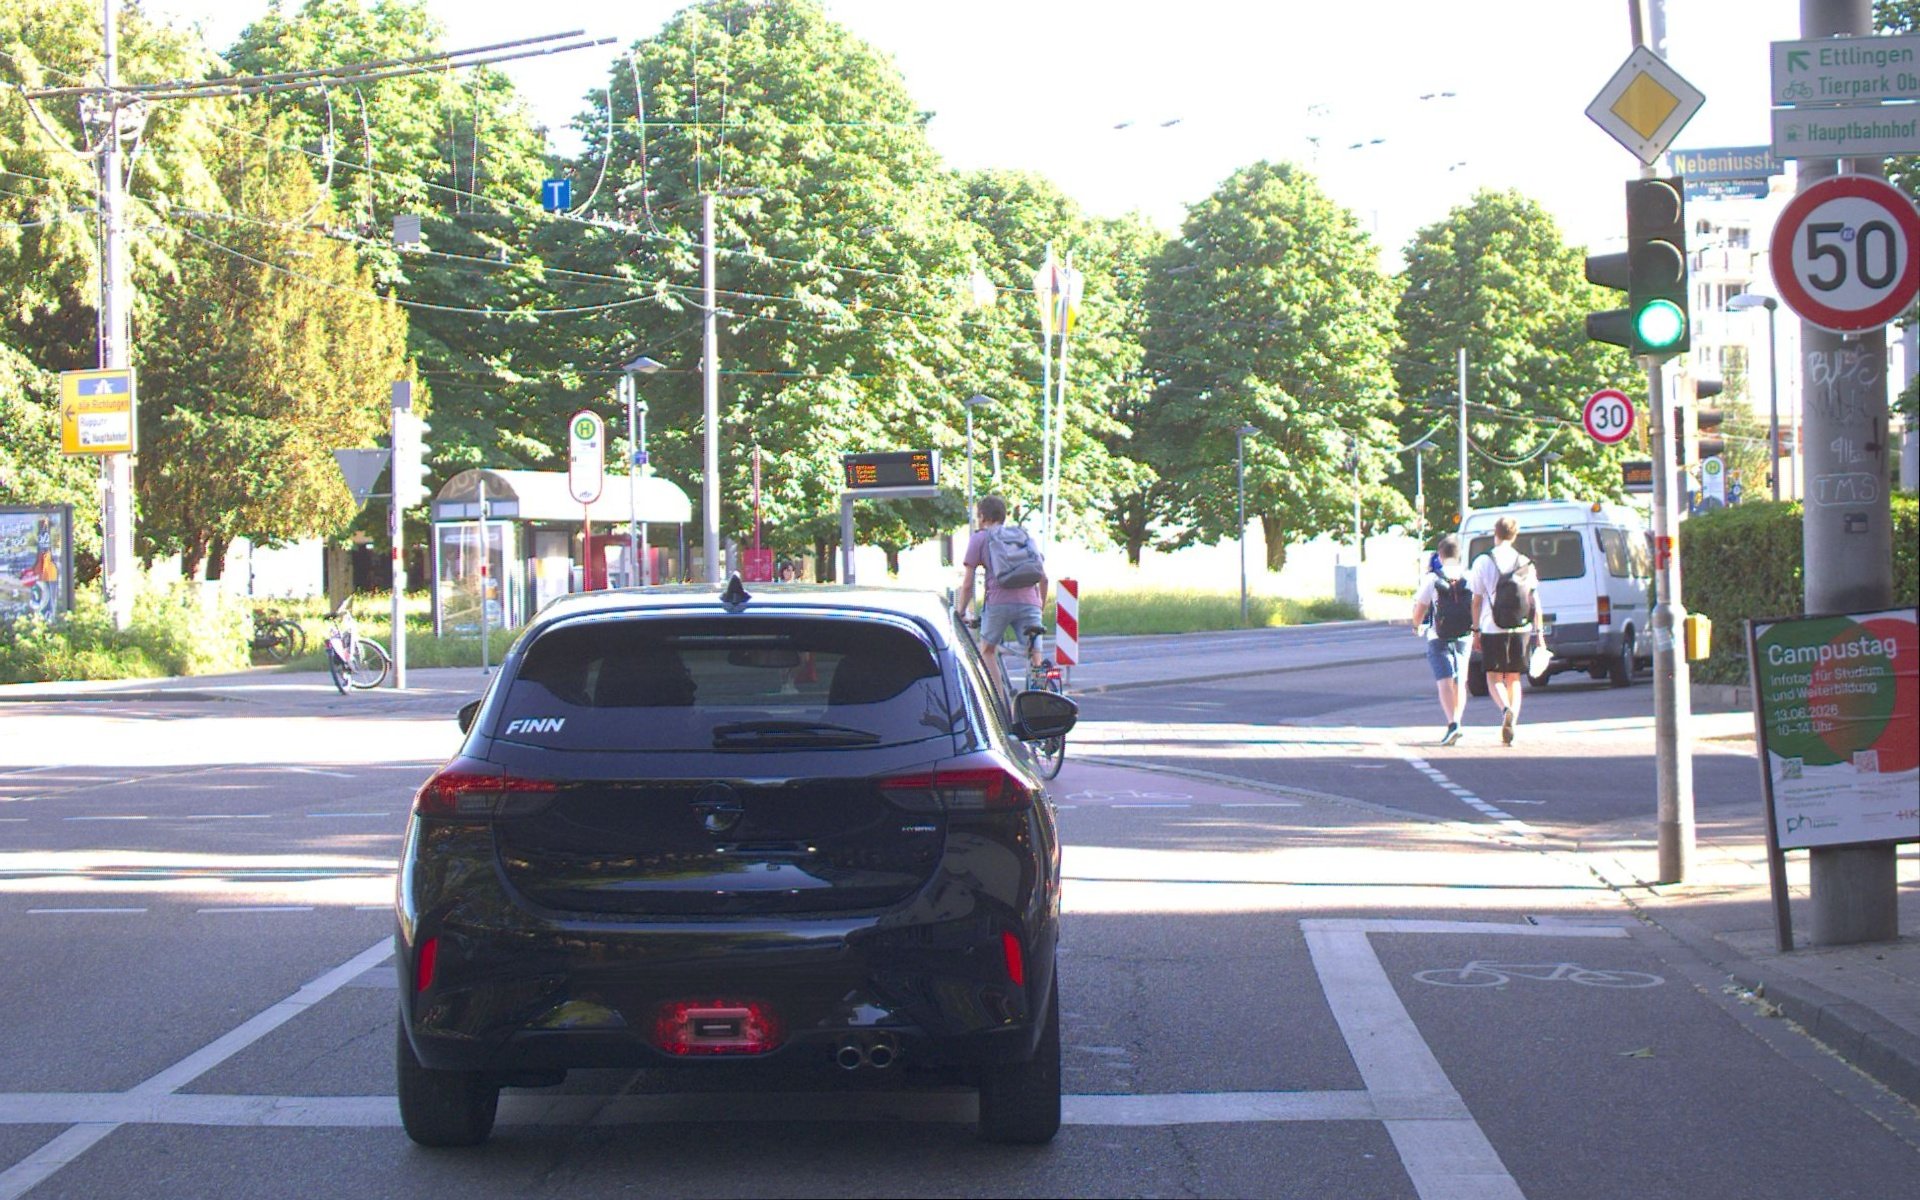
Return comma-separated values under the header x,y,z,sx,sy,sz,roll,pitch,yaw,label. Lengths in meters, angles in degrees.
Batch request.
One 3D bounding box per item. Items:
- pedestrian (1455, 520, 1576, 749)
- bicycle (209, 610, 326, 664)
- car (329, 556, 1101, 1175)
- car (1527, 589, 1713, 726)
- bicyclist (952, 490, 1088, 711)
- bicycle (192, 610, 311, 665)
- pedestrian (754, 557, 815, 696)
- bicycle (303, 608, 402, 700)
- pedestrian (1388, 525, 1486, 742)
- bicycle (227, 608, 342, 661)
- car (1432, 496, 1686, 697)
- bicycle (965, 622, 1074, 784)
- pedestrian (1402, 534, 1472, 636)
x,y,z,sx,sy,sz,roll,pitch,yaw,label
4.554,0.275,28.175,0.704,1.840,0.699,-1,0,38,pedestrian
-12.044,0.646,59.793,1.877,0.903,0.659,-1,0,6,bicycle
-0.578,0.609,10.073,1.800,1.436,3.940,-1,0,0,car
9.108,0.752,47.234,1.802,1.757,3.887,-1,0,21,car
0.409,-0.001,24.186,0.840,1.505,1.369,-1,0,-3,bicyclist
-12.112,0.636,58.807,1.877,0.903,0.659,-1,0,6,bicycle
-2.150,0.318,42.153,0.725,1.687,0.701,-1,0,-2,pedestrian
-7.349,0.640,41.681,0.825,1.056,1.883,-1,0,1,bicycle
3.991,0.275,28.770,0.698,1.786,0.617,-1,0,-2,pedestrian
-11.921,0.609,60.666,1.877,0.903,0.659,-1,0,6,bicycle
7.266,-0.025,41.338,2.092,2.270,4.301,0,0,23,car
0.402,0.700,24.223,0.667,1.056,2.082,-1,0,-2,bicycle
8.455,-0.259,60.919,0.959,1.787,0.994,-1,0,24,pedestrian
